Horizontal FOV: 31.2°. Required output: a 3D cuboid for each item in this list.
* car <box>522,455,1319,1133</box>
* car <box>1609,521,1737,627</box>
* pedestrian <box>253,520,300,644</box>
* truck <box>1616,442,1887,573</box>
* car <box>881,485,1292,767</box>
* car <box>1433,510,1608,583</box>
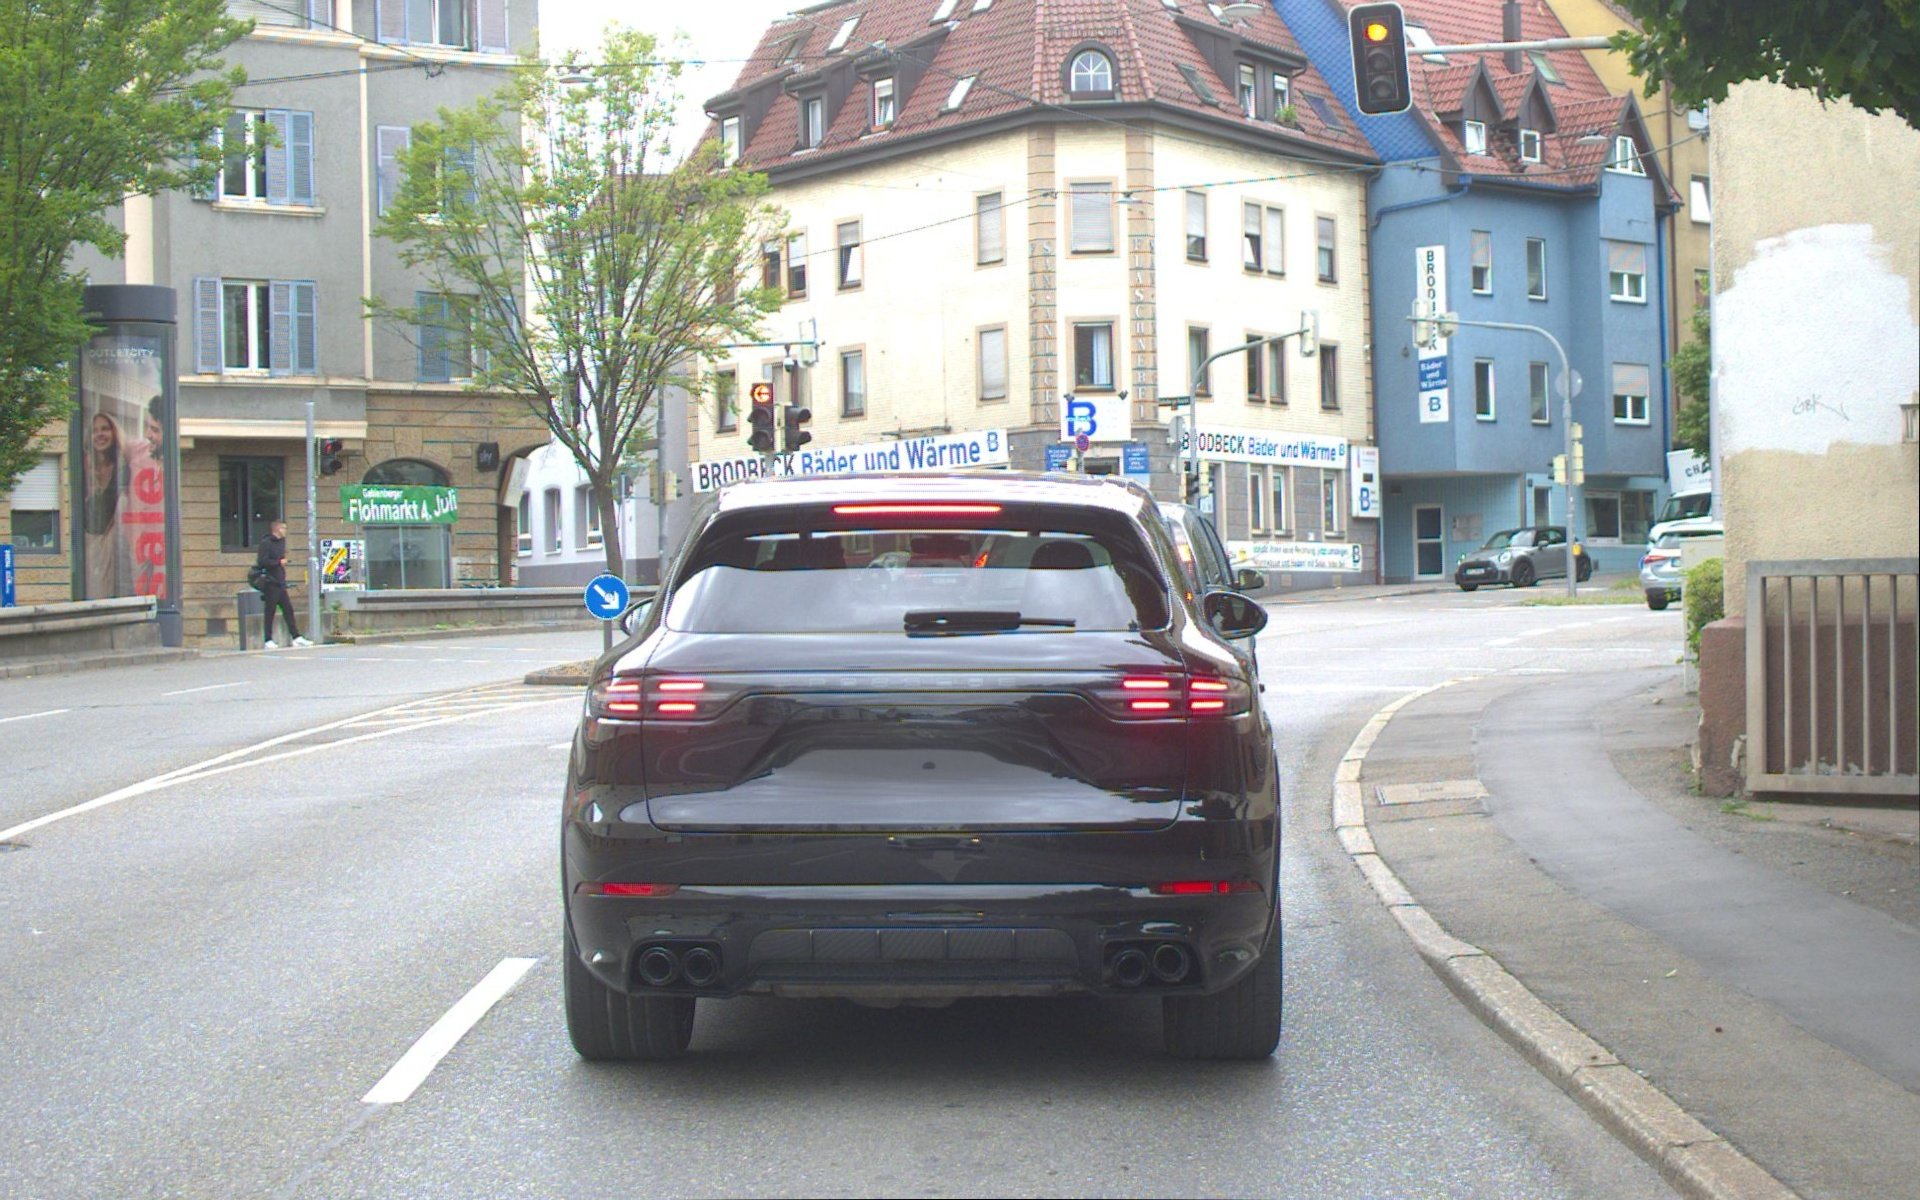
[{"bbox_3d":[-0.129,0.422,10.627,1.978,1.678,4.001,-1,2,-1],"label":"car"},{"bbox_3d":[11.786,-0.452,57.009,1.994,1.678,3.998,-1,1,11],"label":"car"},{"bbox_3d":[-9.589,-0.250,48.233,0.513,1.724,0.451,1,1,4],"label":"pedestrian"},{"bbox_3d":[21.092,-2.419,91.256,2.880,3.328,8.771,2,2,44],"label":"truck"},{"bbox_3d":[0.935,0.123,22.574,1.994,1.678,3.998,-1,1,12],"label":"car"},{"bbox_3d":[13.359,-1.279,81.853,3.989,1.678,1.999,-2,1,-41],"label":"car"}]
